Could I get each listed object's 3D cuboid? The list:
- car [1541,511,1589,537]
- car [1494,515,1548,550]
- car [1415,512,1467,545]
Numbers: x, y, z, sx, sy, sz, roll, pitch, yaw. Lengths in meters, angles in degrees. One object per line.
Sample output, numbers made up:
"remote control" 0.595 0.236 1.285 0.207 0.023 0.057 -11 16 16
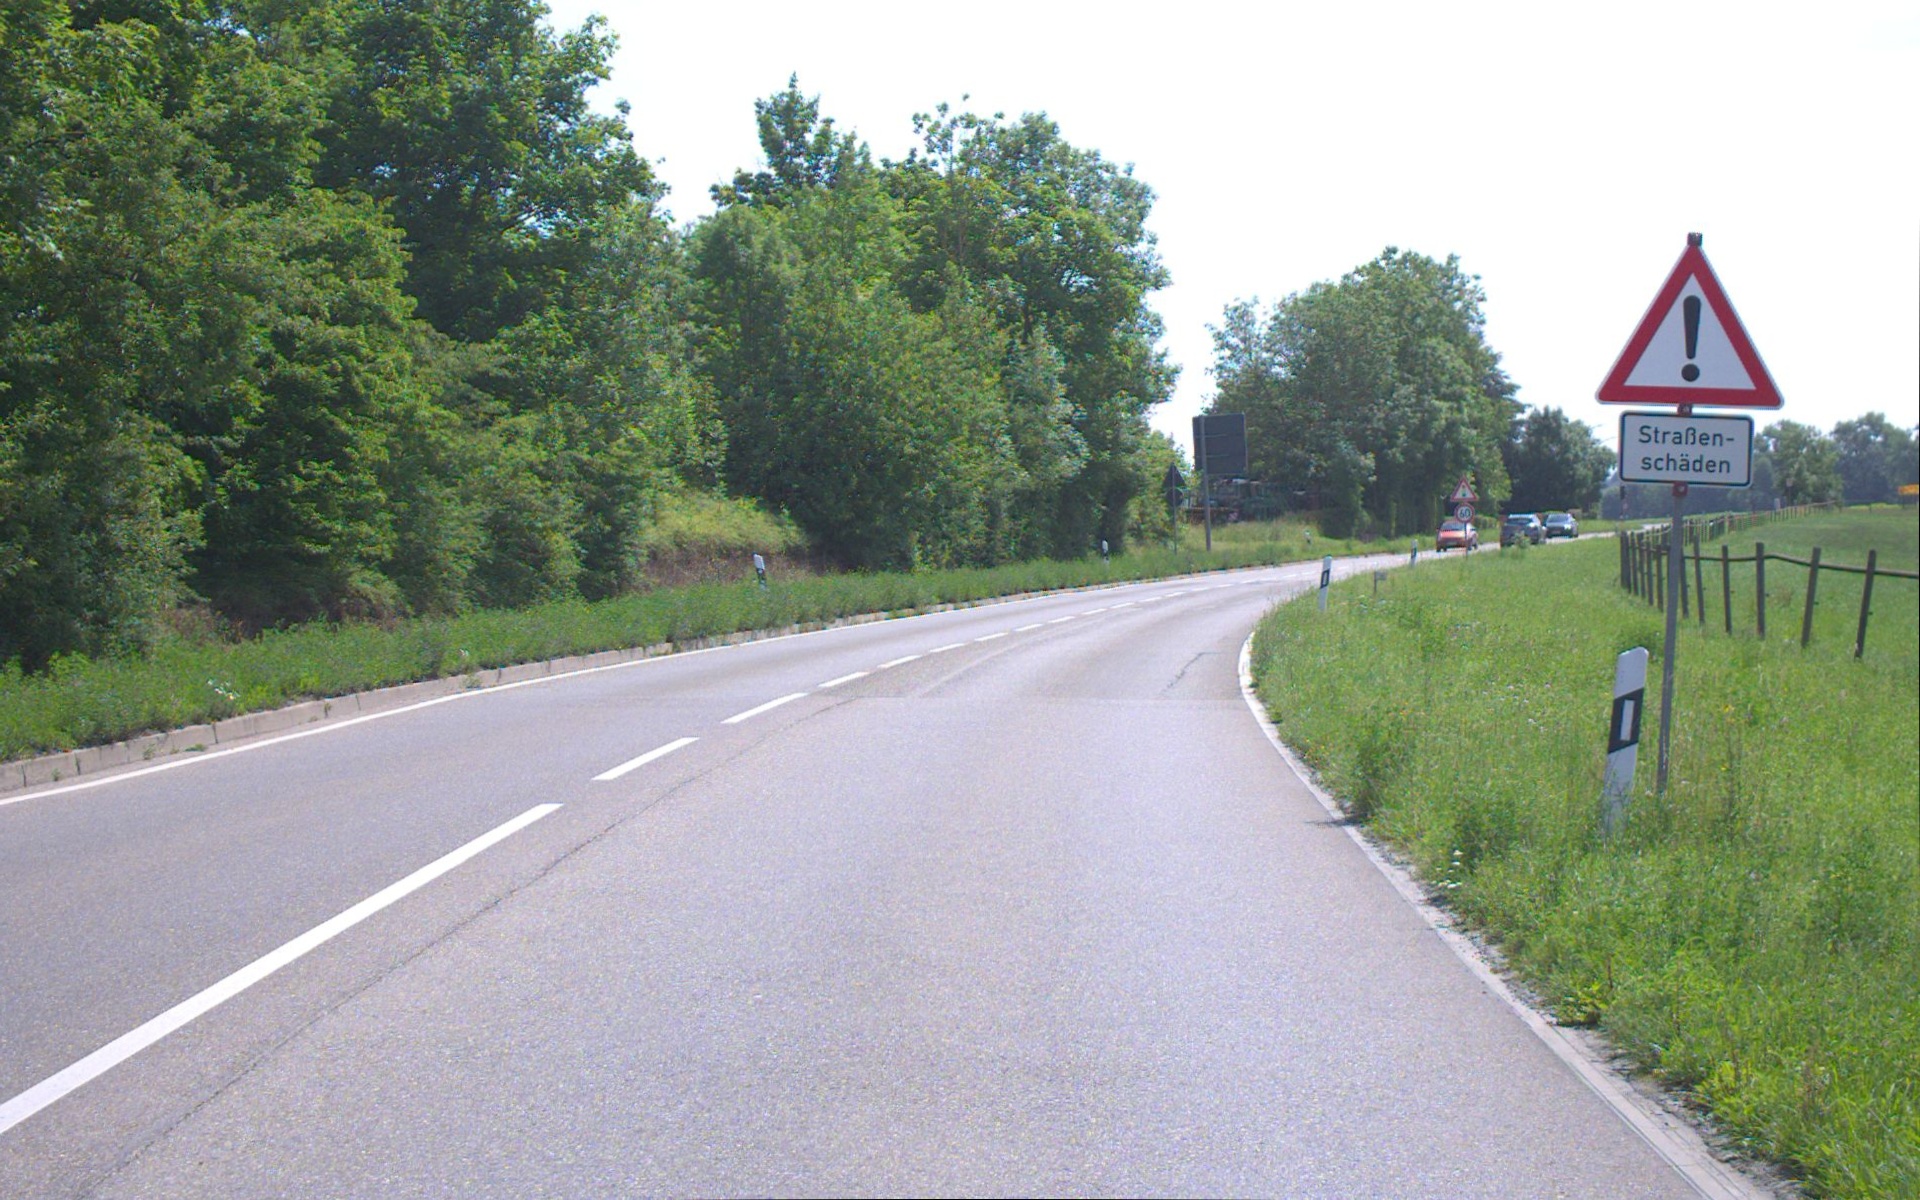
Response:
"car" 35.545 -4.459 201.913 1.823 1.463 3.995 1 2 24
"car" 25.566 -3.081 156.618 1.995 1.568 3.997 1 1 16
"car" 21.869 -3.247 156.212 1.822 1.463 3.997 1 2 16
